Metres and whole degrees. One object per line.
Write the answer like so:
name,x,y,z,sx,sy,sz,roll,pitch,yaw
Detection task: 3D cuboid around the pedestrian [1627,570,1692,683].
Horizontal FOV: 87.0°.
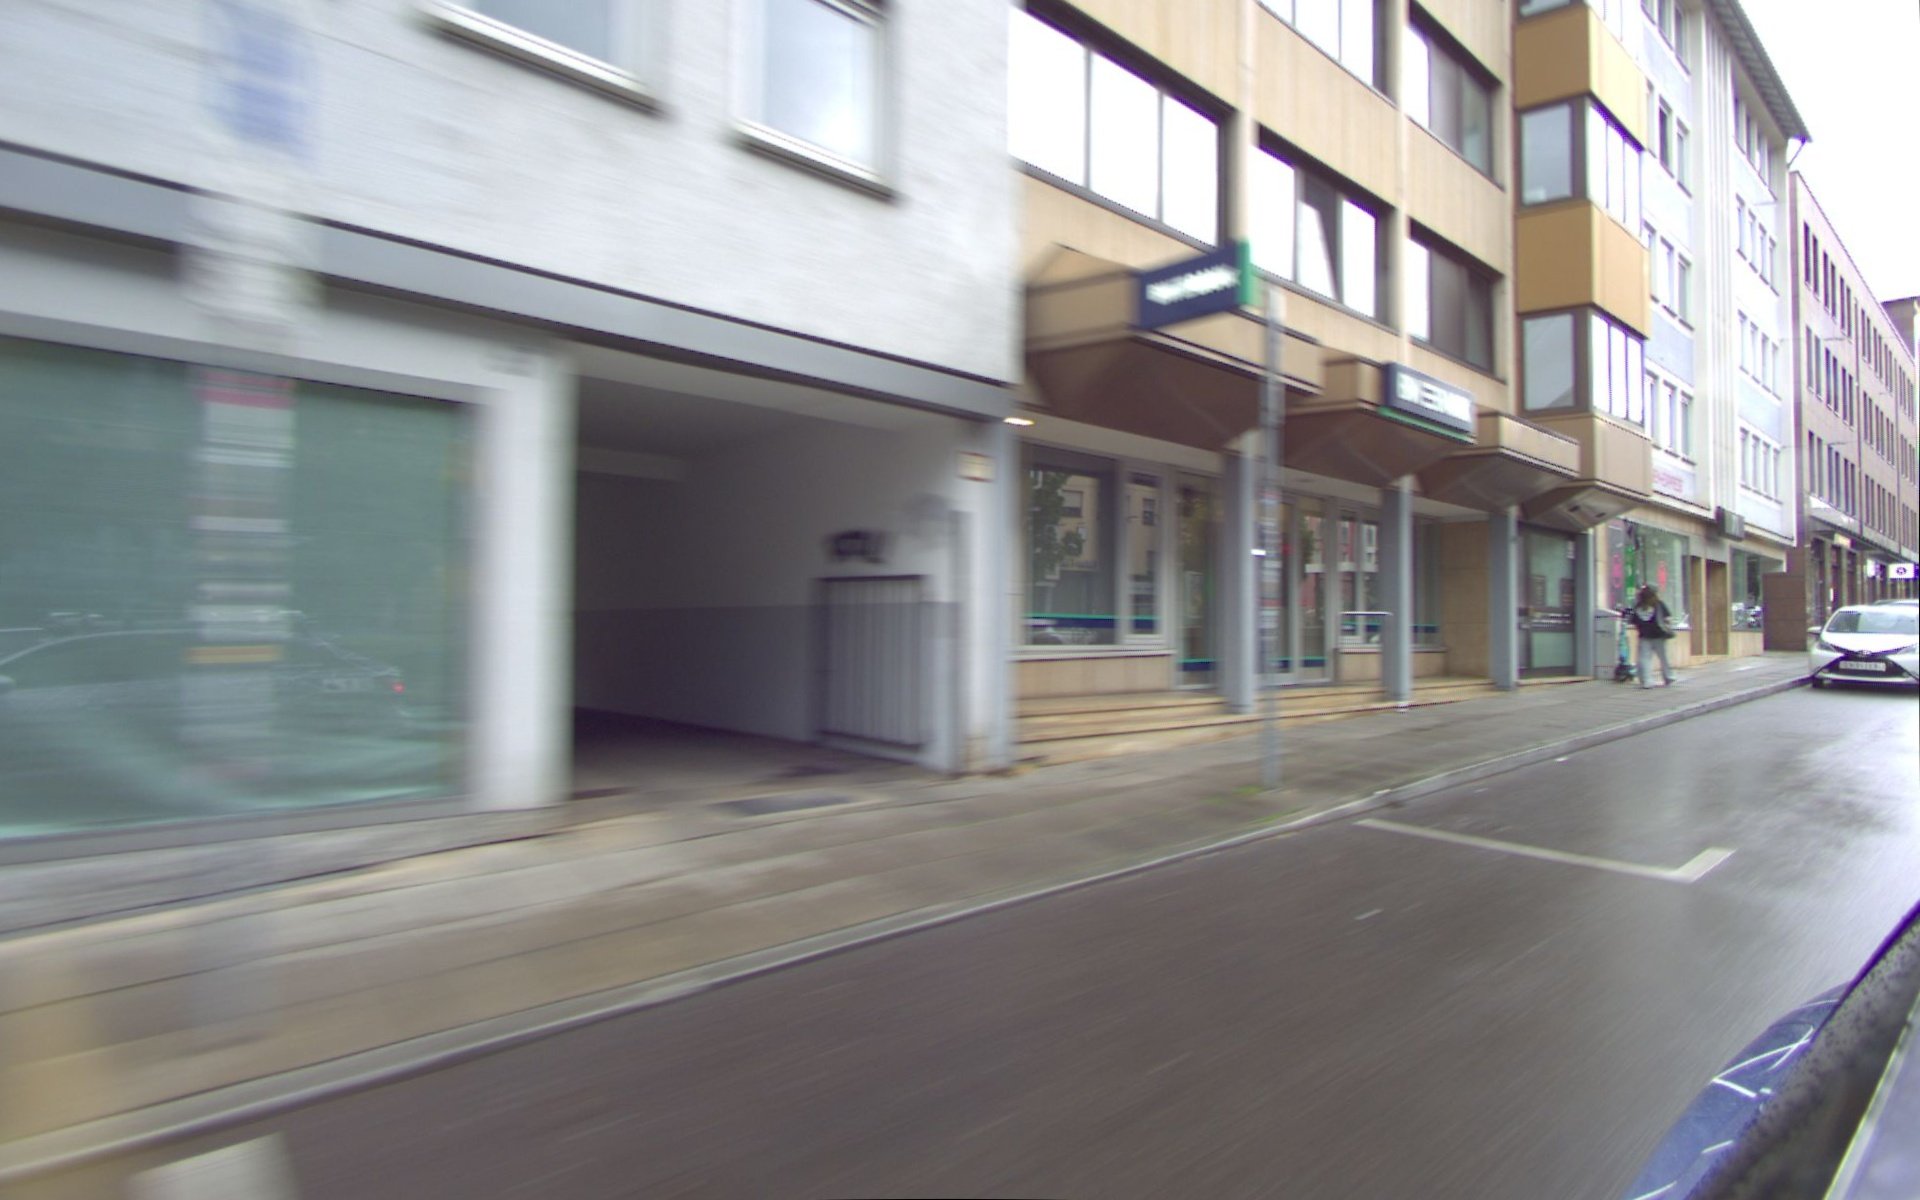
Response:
pedestrian,11.044,0.400,15.981,0.867,1.722,0.639,0,-1,-41

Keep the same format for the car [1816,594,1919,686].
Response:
car,17.013,0.656,18.375,3.996,1.517,1.652,0,0,-41

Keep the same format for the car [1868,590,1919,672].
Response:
car,20.312,0.606,21.045,3.996,1.613,1.652,0,0,-41
